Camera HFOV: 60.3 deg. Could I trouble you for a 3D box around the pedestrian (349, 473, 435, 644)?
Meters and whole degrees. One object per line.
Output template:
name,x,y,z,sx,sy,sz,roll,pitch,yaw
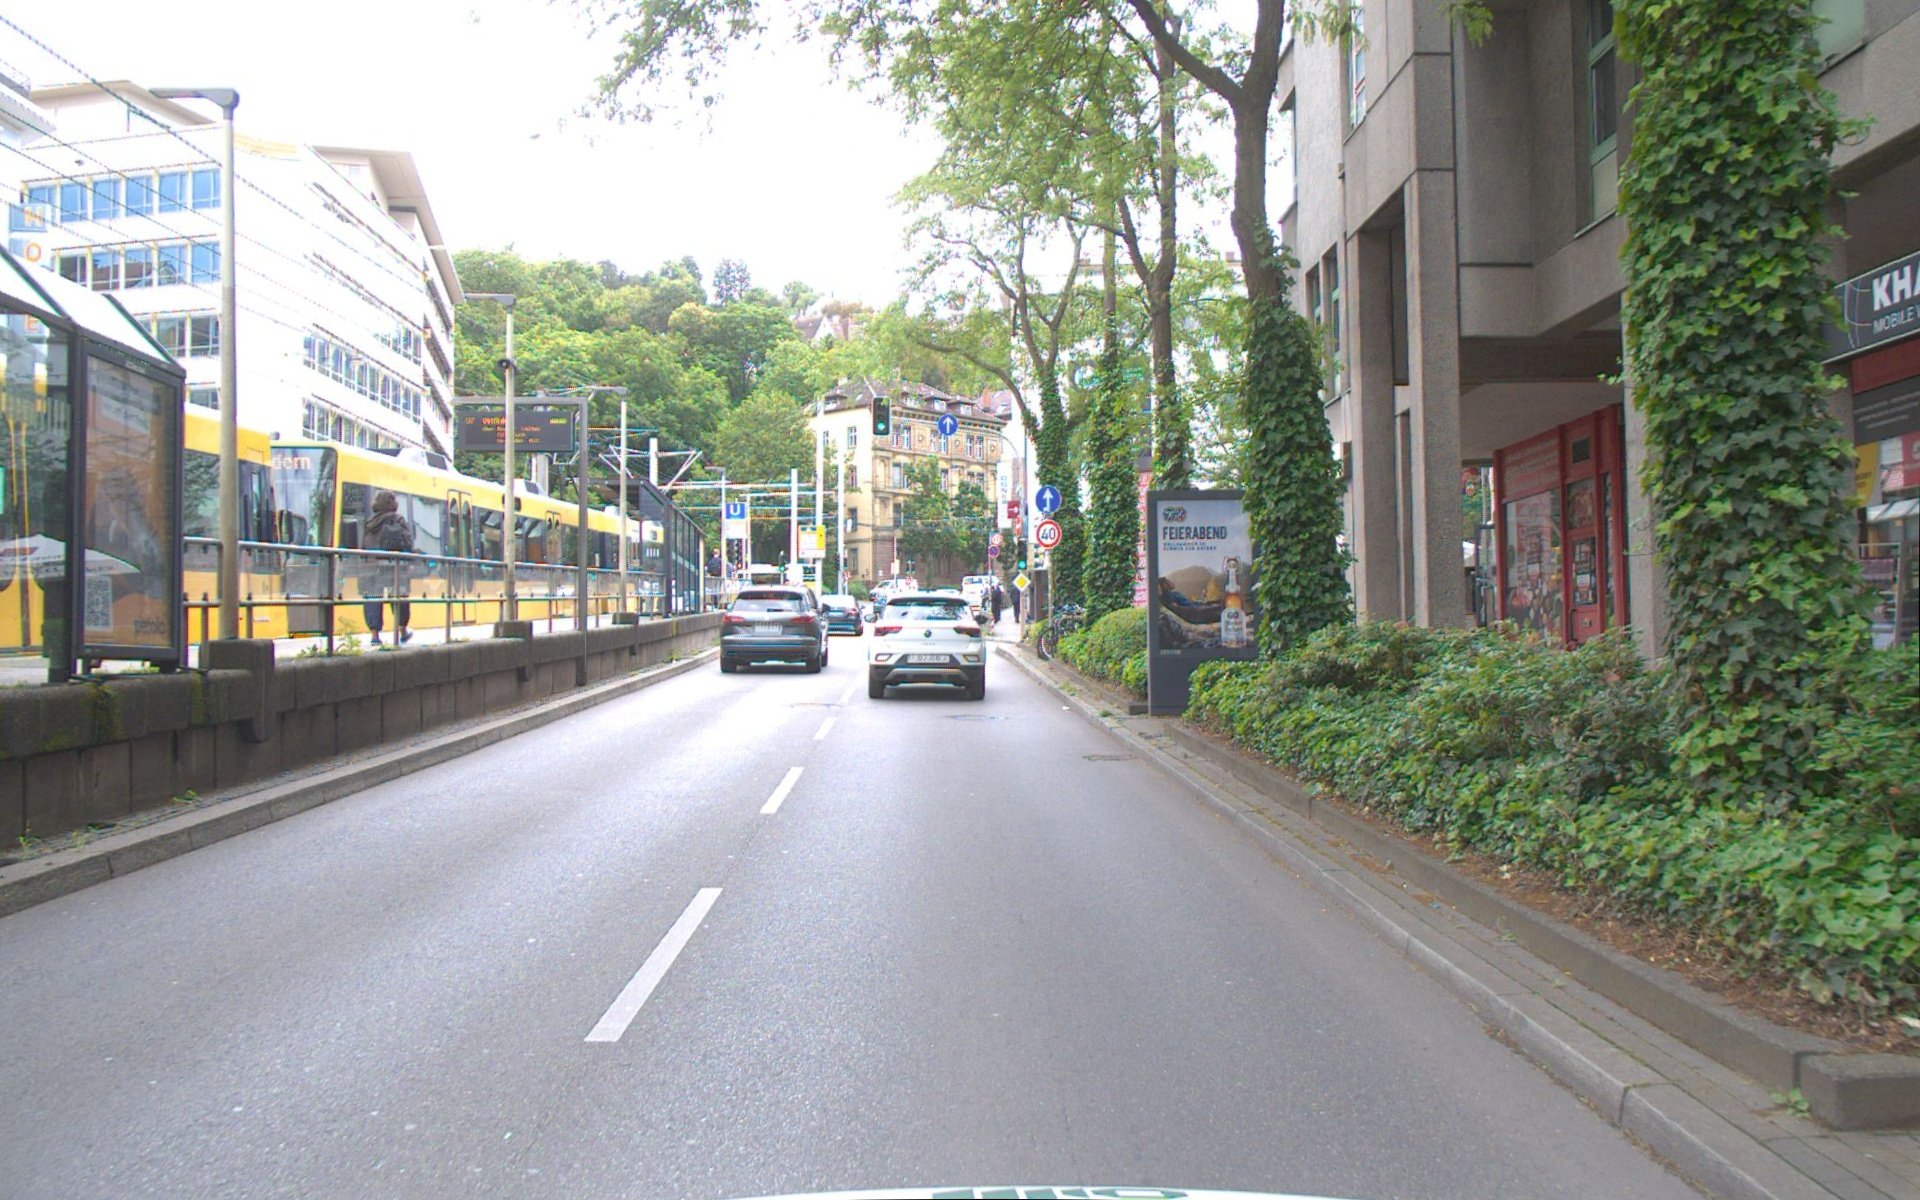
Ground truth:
pedestrian,-6.100,-0.437,17.785,0.614,1.793,0.846,-1,0,-1

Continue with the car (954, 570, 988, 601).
car,0.846,-1.048,122.861,2.315,2.049,5.149,1,-2,3

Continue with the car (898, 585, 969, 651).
car,-0.724,0.522,45.677,1.846,1.713,4.160,1,-2,-1

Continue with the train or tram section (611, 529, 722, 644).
train or tram section,-10.150,-0.414,57.852,2.756,3.731,6.749,1,-1,-2

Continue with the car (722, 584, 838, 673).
car,-3.517,0.539,32.950,1.953,1.664,3.999,0,0,-1

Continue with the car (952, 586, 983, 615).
car,0.474,0.041,103.545,1.846,1.713,4.161,1,-2,2

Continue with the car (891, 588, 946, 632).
car,-1.744,0.450,68.555,1.849,1.713,4.154,1,-2,-7

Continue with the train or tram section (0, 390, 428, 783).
train or tram section,-8.666,-0.106,19.172,2.755,3.731,6.750,1,-1,0

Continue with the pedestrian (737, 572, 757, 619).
pedestrian,-9.427,-0.177,73.089,0.746,2.049,0.838,1,-2,-1

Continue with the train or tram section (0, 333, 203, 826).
train or tram section,-8.648,-0.165,12.841,2.755,3.731,5.902,1,-1,0

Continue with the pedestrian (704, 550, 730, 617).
pedestrian,-7.510,-0.501,51.158,0.747,2.049,0.837,1,-2,-8

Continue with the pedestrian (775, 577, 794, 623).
pedestrian,-7.947,0.005,74.938,0.746,2.049,0.838,1,-2,0

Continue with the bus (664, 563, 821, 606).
bus,-16.847,-1.127,127.314,13.046,3.119,3.372,0,-2,34

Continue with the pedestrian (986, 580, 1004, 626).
pedestrian,1.592,0.148,74.306,0.746,2.049,0.839,1,-2,4

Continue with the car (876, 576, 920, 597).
car,-5.402,-1.146,143.636,1.878,1.719,3.989,1,0,33

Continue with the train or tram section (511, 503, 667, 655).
train or tram section,-9.783,-0.486,44.317,2.756,3.731,6.749,1,-1,-2

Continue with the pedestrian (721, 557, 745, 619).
pedestrian,-7.555,-0.391,55.058,0.747,2.049,0.837,1,-2,-8

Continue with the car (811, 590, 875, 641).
car,-4.144,0.515,59.185,1.872,1.719,4.001,1,0,1

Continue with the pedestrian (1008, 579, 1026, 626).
pedestrian,2.512,0.111,72.555,0.746,2.049,0.839,1,-2,4

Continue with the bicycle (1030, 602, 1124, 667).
bicycle,2.397,0.699,33.854,1.840,1.288,0.765,0,-2,10

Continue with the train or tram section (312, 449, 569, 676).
train or tram section,-9.411,-0.586,30.827,2.756,3.731,6.749,1,-1,-2

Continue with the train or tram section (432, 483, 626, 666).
train or tram section,-9.588,-0.492,37.575,2.756,3.731,6.749,1,-1,-2

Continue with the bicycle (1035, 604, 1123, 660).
bicycle,2.550,0.683,35.348,1.841,1.157,0.808,1,-2,5

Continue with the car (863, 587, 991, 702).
car,-0.440,0.649,25.817,1.799,1.611,4.157,1,0,1

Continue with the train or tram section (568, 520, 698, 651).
train or tram section,-9.969,-0.394,51.084,2.756,3.731,6.749,1,-1,-2

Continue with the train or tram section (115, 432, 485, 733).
train or tram section,-9.222,-0.186,24.083,2.756,3.731,6.749,1,-1,-2
